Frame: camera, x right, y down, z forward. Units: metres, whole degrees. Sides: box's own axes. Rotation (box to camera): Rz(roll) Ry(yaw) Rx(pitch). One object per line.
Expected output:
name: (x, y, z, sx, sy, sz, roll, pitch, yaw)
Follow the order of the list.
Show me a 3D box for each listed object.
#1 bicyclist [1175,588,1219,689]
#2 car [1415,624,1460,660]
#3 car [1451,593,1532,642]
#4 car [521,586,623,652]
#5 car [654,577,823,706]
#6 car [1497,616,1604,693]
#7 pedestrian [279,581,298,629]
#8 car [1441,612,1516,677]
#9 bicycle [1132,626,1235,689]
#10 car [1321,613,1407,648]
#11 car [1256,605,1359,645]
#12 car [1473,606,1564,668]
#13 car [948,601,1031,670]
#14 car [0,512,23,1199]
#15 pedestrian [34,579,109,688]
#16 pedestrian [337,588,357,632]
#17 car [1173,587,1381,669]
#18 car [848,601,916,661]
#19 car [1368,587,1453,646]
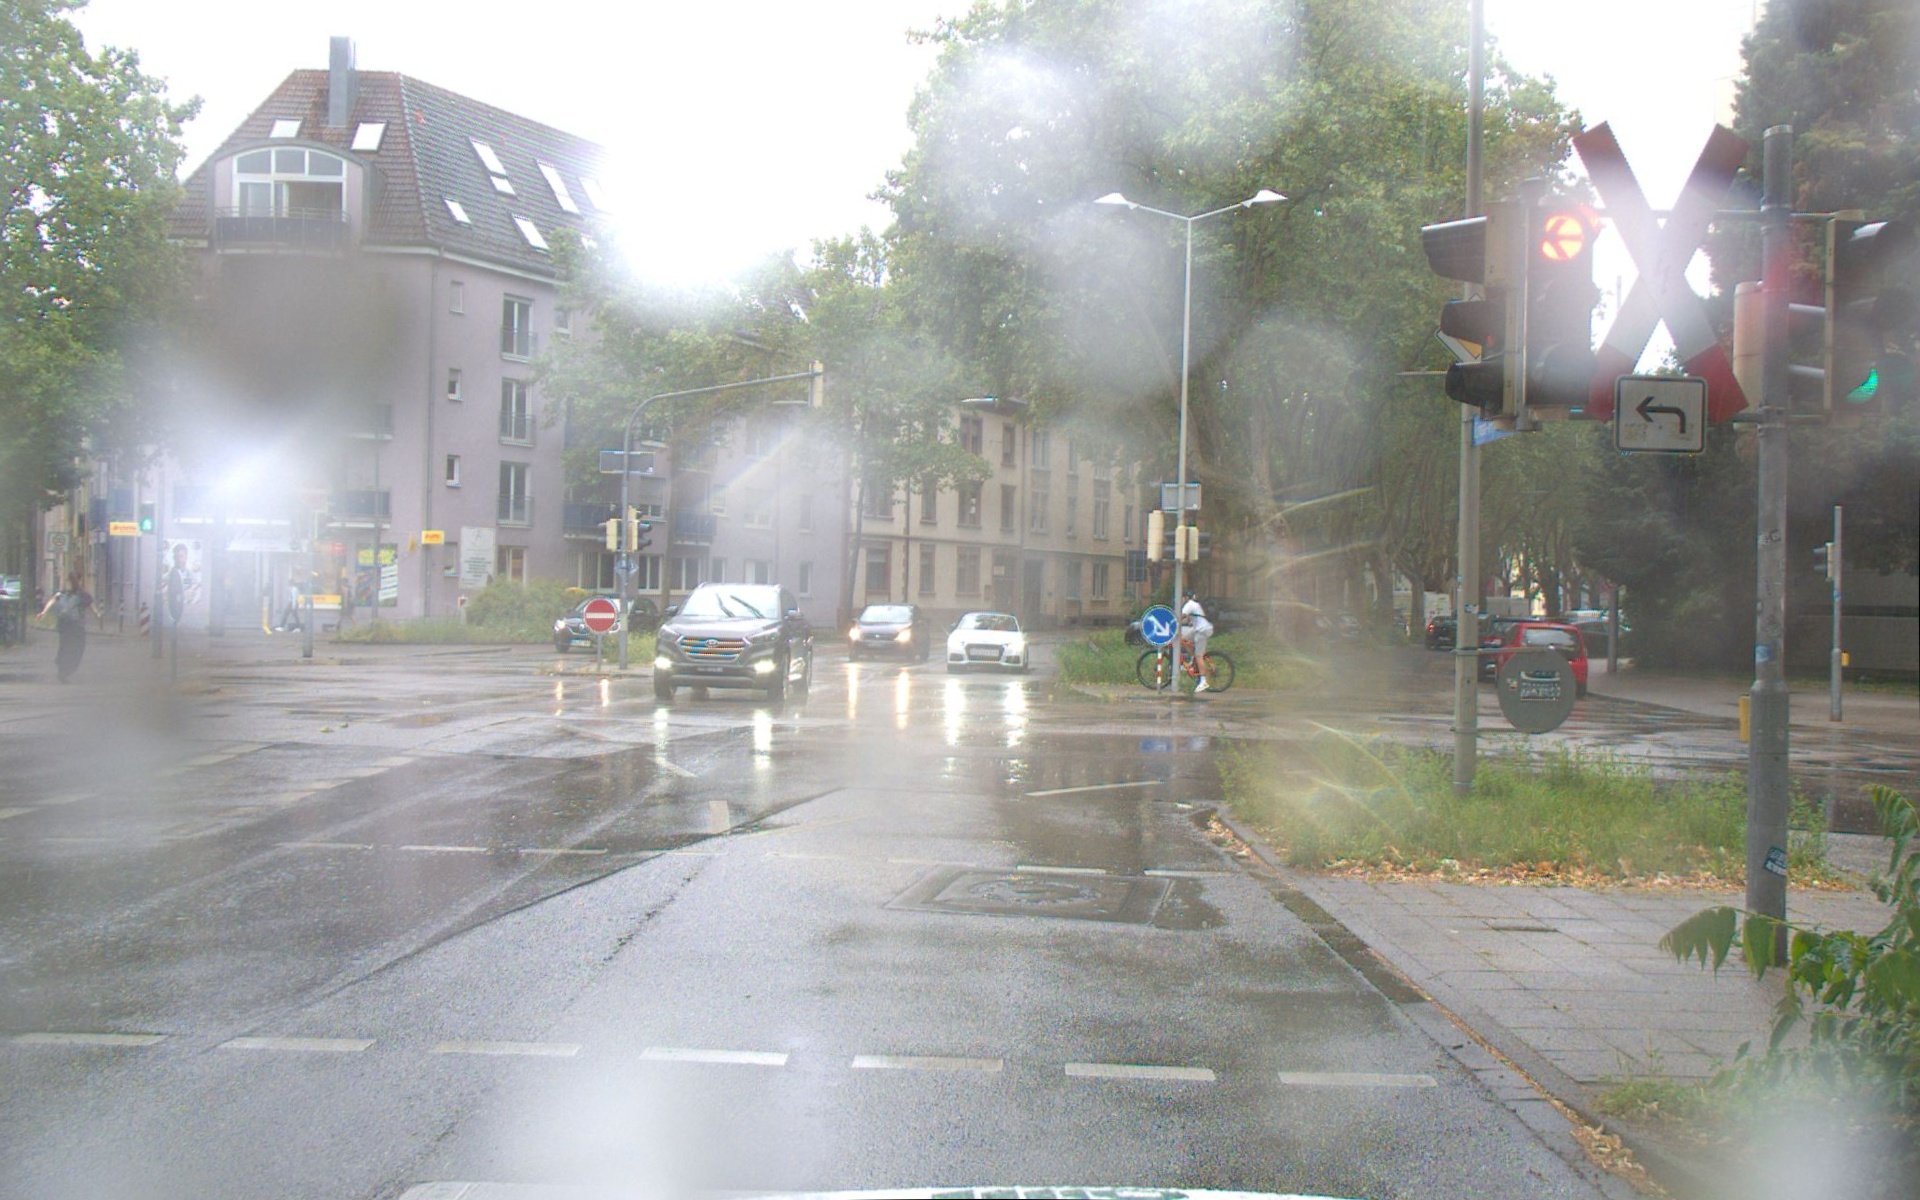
bicyclist: (4.353, 0.695, 30.407, 0.778, 1.817, 0.697, 1, -1, 7)
car: (20.702, 1.794, 71.611, 1.646, 1.500, 3.663, 1, 0, 20)
car: (33.649, 1.092, 104.805, 1.974, 3.000, 4.720, 1, 0, -31)
car: (-9.637, 0.444, 41.330, 1.716, 1.538, 3.838, 1, 0, -2)
car: (-3.144, 0.534, 24.338, 1.766, 1.712, 4.604, 0, 0, 1)
car: (13.041, 1.163, 36.725, 1.754, 1.524, 4.003, 1, 0, 13)
pedestrian: (-21.079, 0.168, 51.922, 0.436, 1.483, 0.560, 1, -1, -10)
car: (14.977, 1.255, 47.898, 1.745, 1.757, 4.003, 1, 0, 13)
bicycle: (4.107, 1.050, 30.432, 1.833, 1.100, 0.657, 1, 0, 7)
car: (19.245, 1.446, 78.916, 3.902, 1.574, 2.002, 1, 0, 12)
car: (13.773, 0.981, 65.640, 3.902, 1.512, 2.002, 1, 0, 12)
car: (13.886, 0.878, 41.295, 1.745, 1.371, 3.932, 2, 1, 13)
car: (0.702, 0.797, 39.073, 1.845, 1.461, 4.001, 1, 0, 1)
car: (-2.935, 0.604, 1.594, 1.716, 1.619, 4.233, 1, 0, -2)
pedestrian: (-12.996, 0.479, 24.224, 0.736, 1.560, 0.789, 1, -1, -12)
pedestrian: (-19.268, 0.309, 51.979, 0.435, 1.353, 0.561, 1, -1, -5)
car: (6.276, 0.535, 32.780, 3.902, 1.512, 2.002, 1, 0, 12)
car: (-2.020, 0.800, 43.576, 1.679, 1.485, 3.747, 1, 0, -2)
car: (23.936, 0.853, 88.060, 2.005, 2.999, 4.742, 1, 0, -21)
